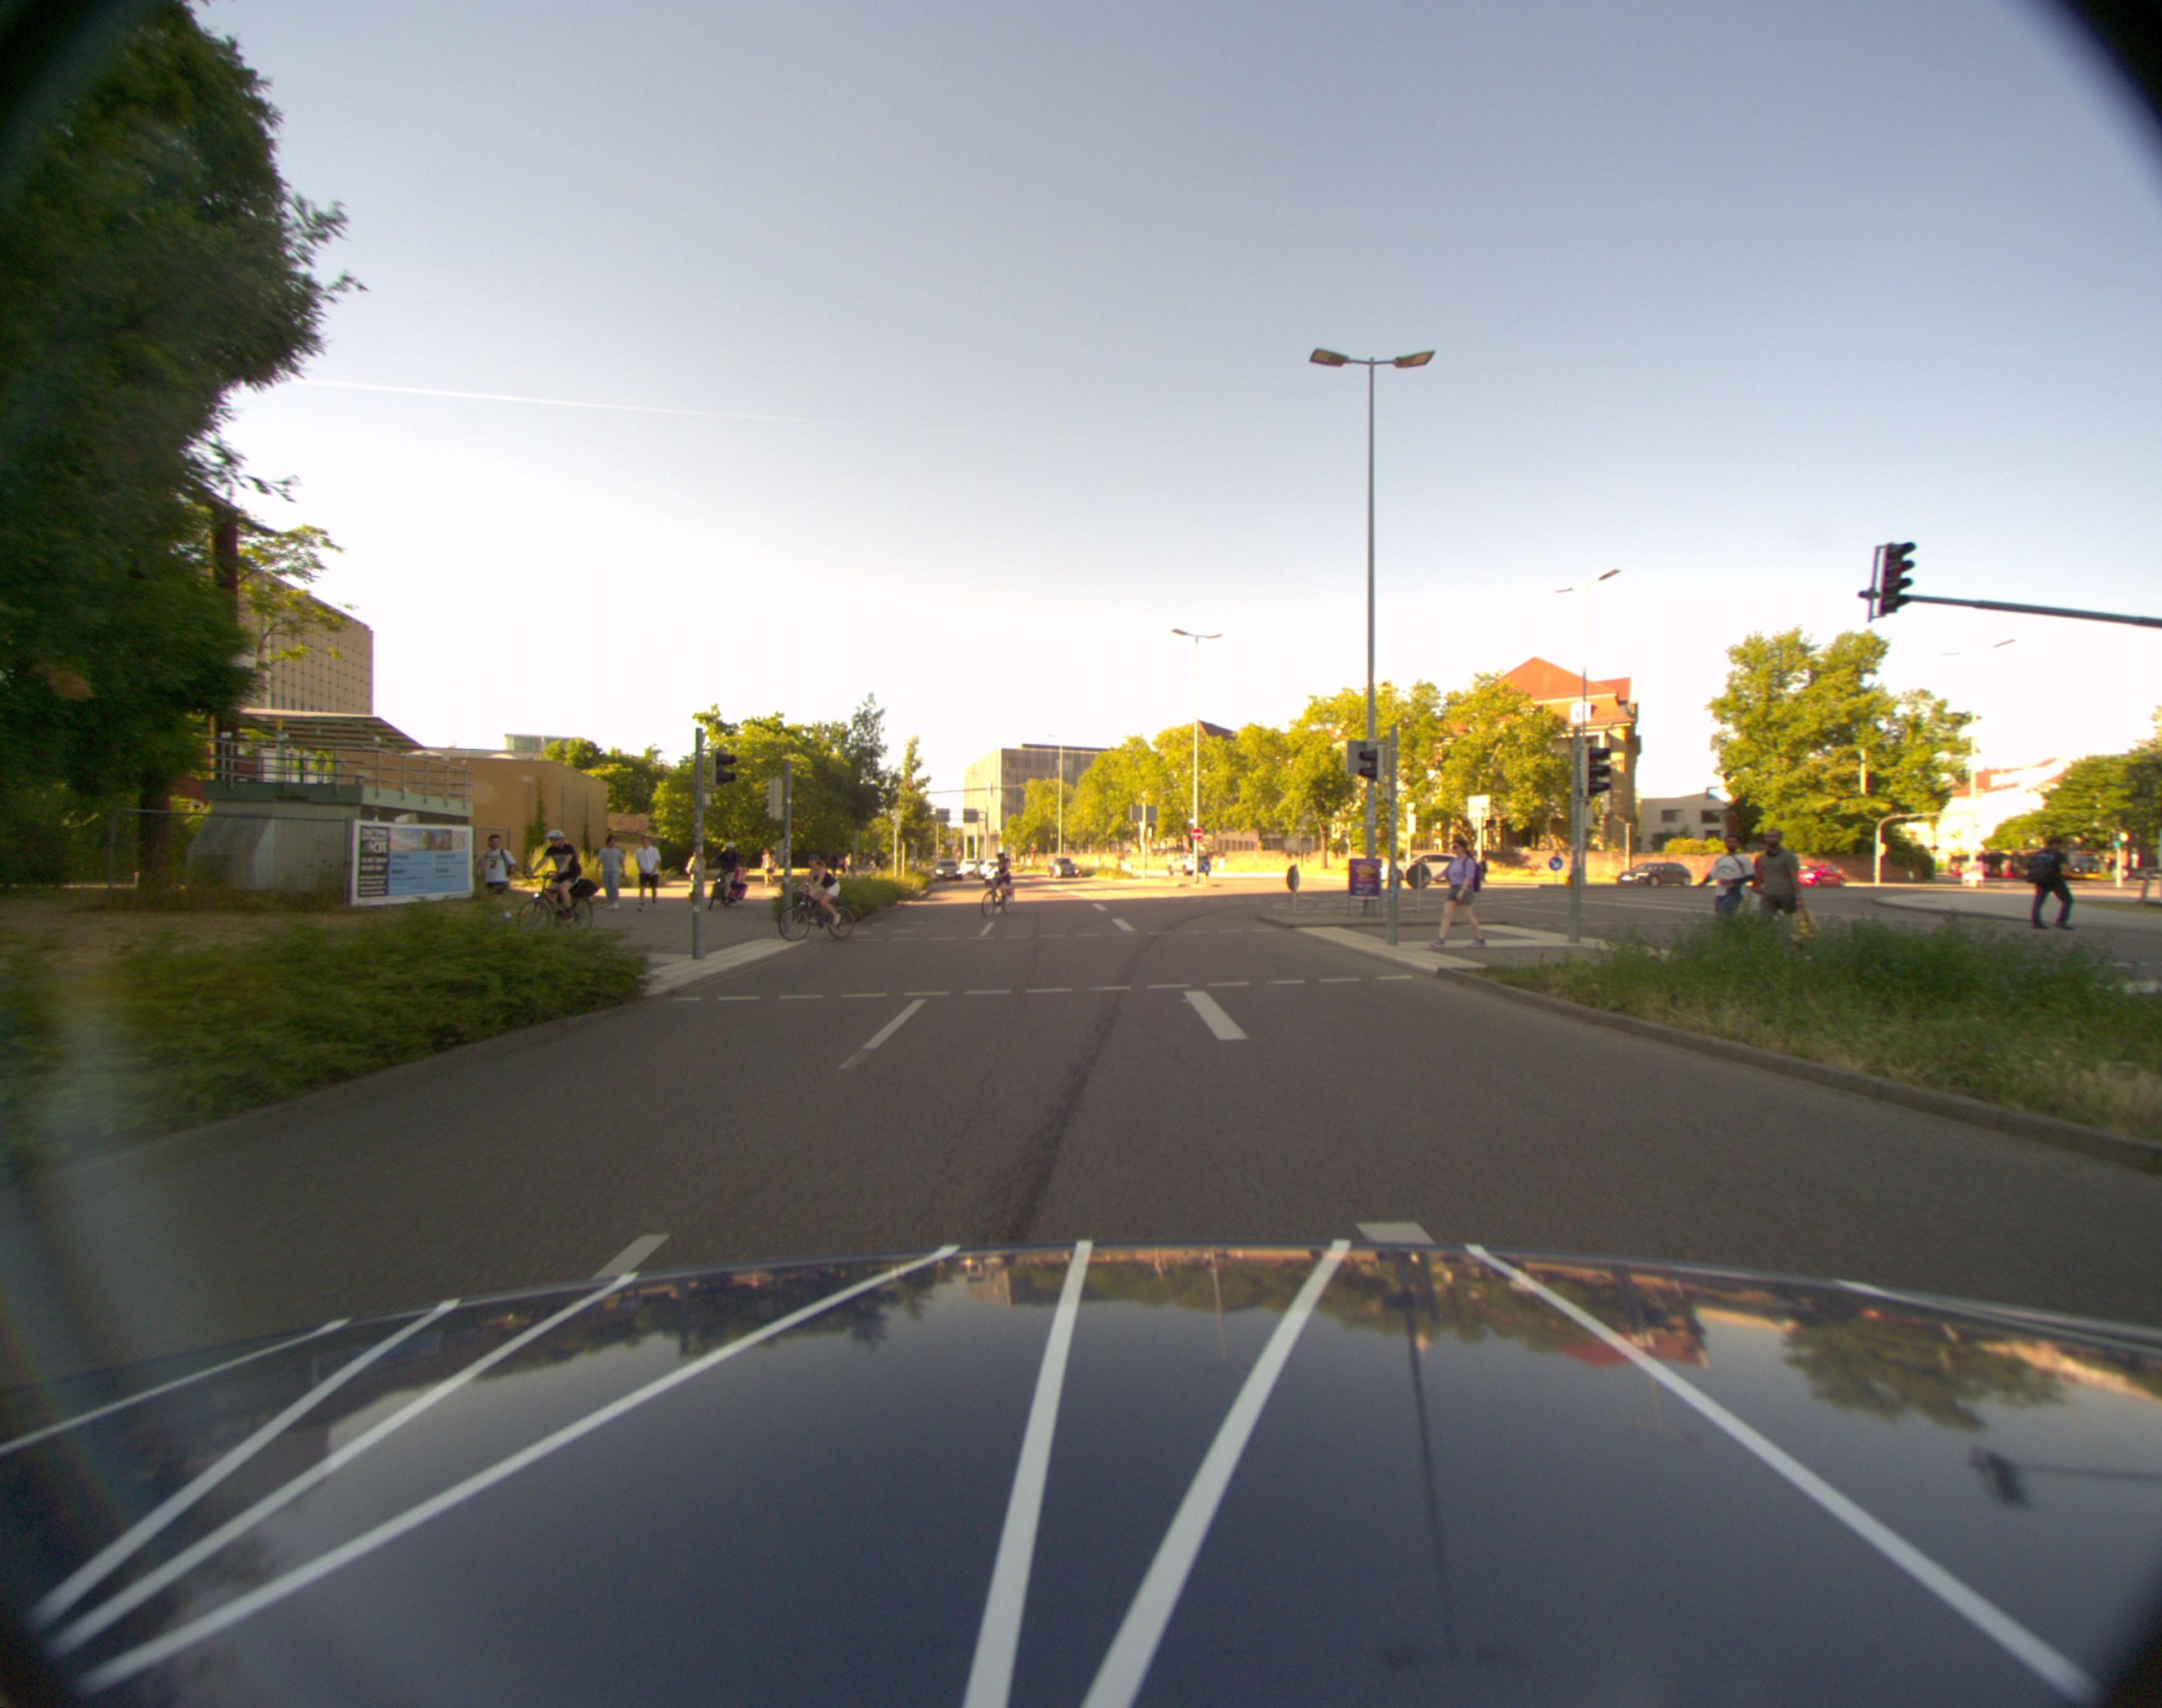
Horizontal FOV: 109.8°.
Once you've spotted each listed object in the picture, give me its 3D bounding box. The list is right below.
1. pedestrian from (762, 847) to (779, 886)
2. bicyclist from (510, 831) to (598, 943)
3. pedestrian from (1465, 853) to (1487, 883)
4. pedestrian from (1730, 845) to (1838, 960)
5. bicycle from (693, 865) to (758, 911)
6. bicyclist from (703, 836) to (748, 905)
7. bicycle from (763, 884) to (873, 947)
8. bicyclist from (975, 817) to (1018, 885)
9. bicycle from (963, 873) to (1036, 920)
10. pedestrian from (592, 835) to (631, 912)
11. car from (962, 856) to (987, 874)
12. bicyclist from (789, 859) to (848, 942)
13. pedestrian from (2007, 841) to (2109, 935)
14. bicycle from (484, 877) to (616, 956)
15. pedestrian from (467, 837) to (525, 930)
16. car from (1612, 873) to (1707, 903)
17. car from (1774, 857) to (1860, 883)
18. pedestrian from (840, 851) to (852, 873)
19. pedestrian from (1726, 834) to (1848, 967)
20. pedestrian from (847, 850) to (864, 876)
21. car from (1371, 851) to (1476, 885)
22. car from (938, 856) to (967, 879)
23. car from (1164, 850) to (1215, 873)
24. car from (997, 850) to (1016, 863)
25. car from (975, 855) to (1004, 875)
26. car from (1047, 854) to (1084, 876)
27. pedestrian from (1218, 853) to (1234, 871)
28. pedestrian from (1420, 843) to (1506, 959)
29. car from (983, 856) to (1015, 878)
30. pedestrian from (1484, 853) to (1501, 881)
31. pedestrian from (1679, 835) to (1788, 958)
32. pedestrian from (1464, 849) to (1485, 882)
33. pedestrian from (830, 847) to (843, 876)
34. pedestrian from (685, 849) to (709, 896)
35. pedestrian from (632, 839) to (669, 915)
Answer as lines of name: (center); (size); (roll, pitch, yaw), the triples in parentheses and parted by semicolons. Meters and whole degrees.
pedestrian: (-13.831, 0.540, 33.816); (0.677, 1.694, 0.875); (0, 1, -21)
bicyclist: (-8.931, 0.538, 12.927); (0.780, 1.820, 1.092); (0, 1, -5)
pedestrian: (22.837, 0.814, 43.955); (0.871, 1.665, 0.713); (1, 4, 11)
pedestrian: (10.892, 0.729, 11.799); (0.927, 1.731, 0.787); (0, 1, 0)
bicycle: (-9.665, 0.887, 20.791); (0.780, 1.149, 2.579); (0, 0, -5)
bicyclist: (-9.650, 0.445, 20.681); (0.780, 1.823, 1.092); (0, 1, -5)
bicycle: (-5.047, 1.152, 14.660); (1.873, 1.114, 0.717); (1, -2, -43)
bicyclist: (-2.272, -0.079, 20.527); (0.715, 1.777, 0.851); (-1, 1, 36)
bicycle: (-2.180, 1.128, 20.623); (0.717, 1.115, 2.070); (-1, 1, 36)
pedestrian: (-11.517, 0.474, 18.648); (0.575, 1.858, 0.624); (1, 1, 35)
car: (-9.450, 0.934, 67.376); (1.926, 1.510, 4.013); (0, 0, -12)
bicyclist: (-5.060, 0.886, 14.660); (0.851, 1.539, 0.715); (1, -2, -43)
pedestrian: (17.937, 0.617, 13.971); (0.899, 1.675, 0.748); (0, 0, 0)
bicycle: (-8.937, 1.001, 12.924); (0.780, 1.149, 2.290); (0, 0, -5)
pedestrian: (-10.921, 0.537, 14.194); (0.622, 1.689, 0.630); (0, 1, -7)
car: (32.458, 1.878, 42.660); (4.612, 1.576, 2.192); (0, -2, -22)
car: (46.250, 0.987, 47.771); (4.612, 1.576, 2.192); (0, -2, -22)
pedestrian: (-17.068, 0.568, 55.137); (0.764, 1.534, 0.845); (1, 0, -21)
pedestrian: (9.495, 0.604, 10.250); (0.927, 1.731, 0.757); (0, 1, 0)
pedestrian: (-15.382, 0.608, 51.729); (1.020, 1.739, 0.848); (1, 0, -21)
car: (18.123, 0.764, 40.391); (4.601, 1.673, 2.197); (-1, -2, 5)
car: (-8.789, 0.888, 51.759); (1.804, 1.510, 3.995); (0, 0, -12)
car: (7.910, 0.517, 55.823); (2.158, 1.611, 4.356); (0, 0, -15)
car: (-9.827, 0.307, 99.802); (2.001, 1.674, 4.624); (0, 0, -12)
car: (-7.349, 0.832, 61.005); (1.926, 1.510, 4.013); (0, 0, -12)
car: (-1.174, 0.744, 54.565); (1.926, 1.510, 4.013); (0, 0, -12)
pedestrian: (12.620, 0.715, 66.131); (0.974, 1.527, 0.921); (0, 1, -15)
pedestrian: (5.854, 0.700, 11.690); (0.927, 1.731, 0.757); (0, 1, 0)
car: (-5.873, 0.893, 53.821); (1.804, 1.510, 4.426); (0, 0, -12)
pedestrian: (24.436, 0.762, 45.163); (0.791, 1.644, 0.714); (2, 4, 26)
pedestrian: (9.481, 0.594, 11.069); (0.927, 1.731, 0.757); (0, 1, 0)
pedestrian: (23.095, 0.654, 44.639); (0.871, 1.884, 0.713); (1, 4, 11)
pedestrian: (-14.642, 0.463, 45.521); (0.713, 1.703, 0.733); (0, 1, -16)
pedestrian: (-12.945, 0.622, 25.627); (0.623, 1.565, 0.638); (0, 1, -16)
pedestrian: (-10.768, 0.562, 18.996); (0.575, 1.858, 0.624); (1, 1, 35)
